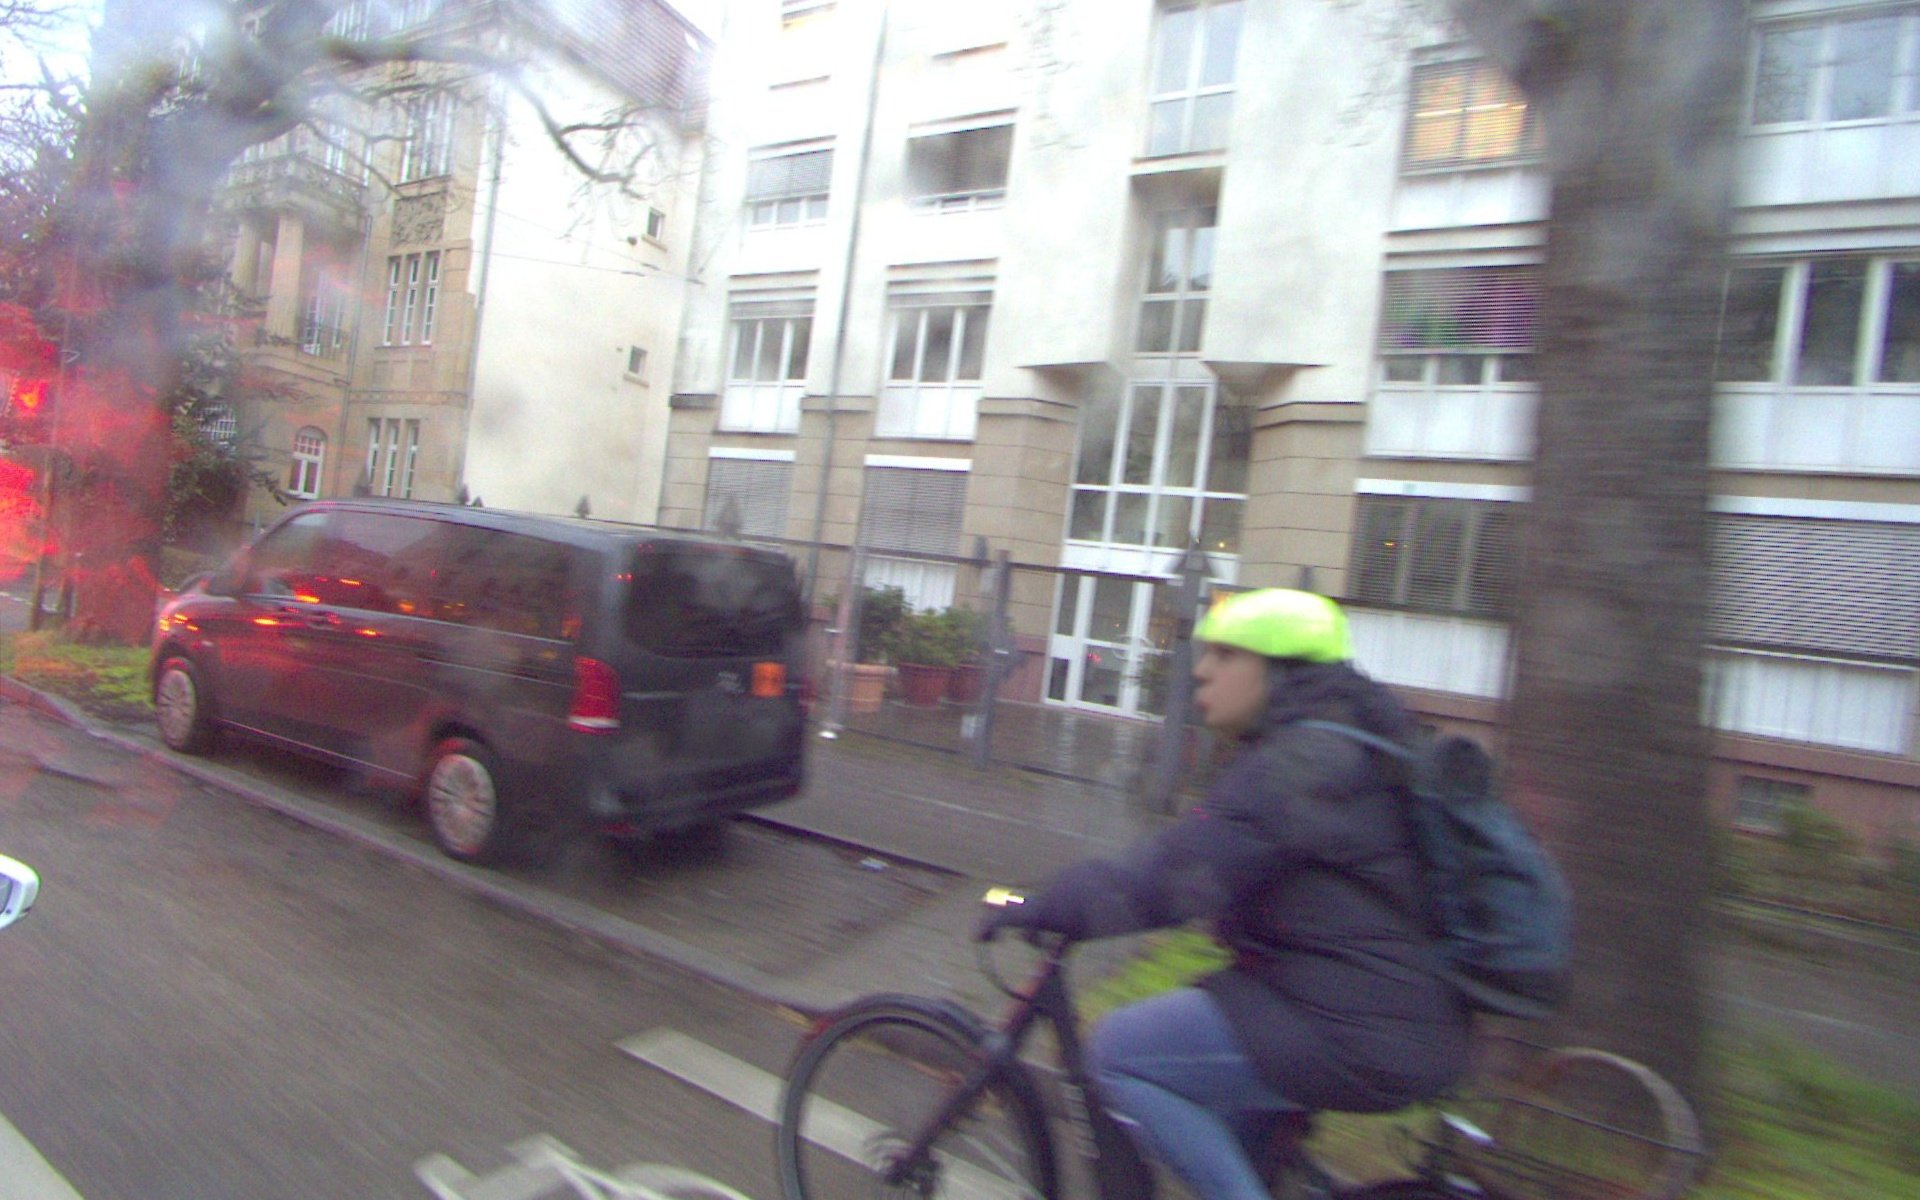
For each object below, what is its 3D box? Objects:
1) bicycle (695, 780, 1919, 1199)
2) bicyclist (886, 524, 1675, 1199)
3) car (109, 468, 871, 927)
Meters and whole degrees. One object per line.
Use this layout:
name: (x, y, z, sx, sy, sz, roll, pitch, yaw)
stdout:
bicycle: (0.512, 1.106, 1.880, 1.907, 1.125, 0.719, 8, -1, 26)
bicyclist: (0.534, 0.794, 1.893, 1.038, 1.681, 0.719, 8, -1, 26)
car: (-3.267, 0.360, 6.703, 4.879, 1.899, 2.034, 7, 0, 30)
